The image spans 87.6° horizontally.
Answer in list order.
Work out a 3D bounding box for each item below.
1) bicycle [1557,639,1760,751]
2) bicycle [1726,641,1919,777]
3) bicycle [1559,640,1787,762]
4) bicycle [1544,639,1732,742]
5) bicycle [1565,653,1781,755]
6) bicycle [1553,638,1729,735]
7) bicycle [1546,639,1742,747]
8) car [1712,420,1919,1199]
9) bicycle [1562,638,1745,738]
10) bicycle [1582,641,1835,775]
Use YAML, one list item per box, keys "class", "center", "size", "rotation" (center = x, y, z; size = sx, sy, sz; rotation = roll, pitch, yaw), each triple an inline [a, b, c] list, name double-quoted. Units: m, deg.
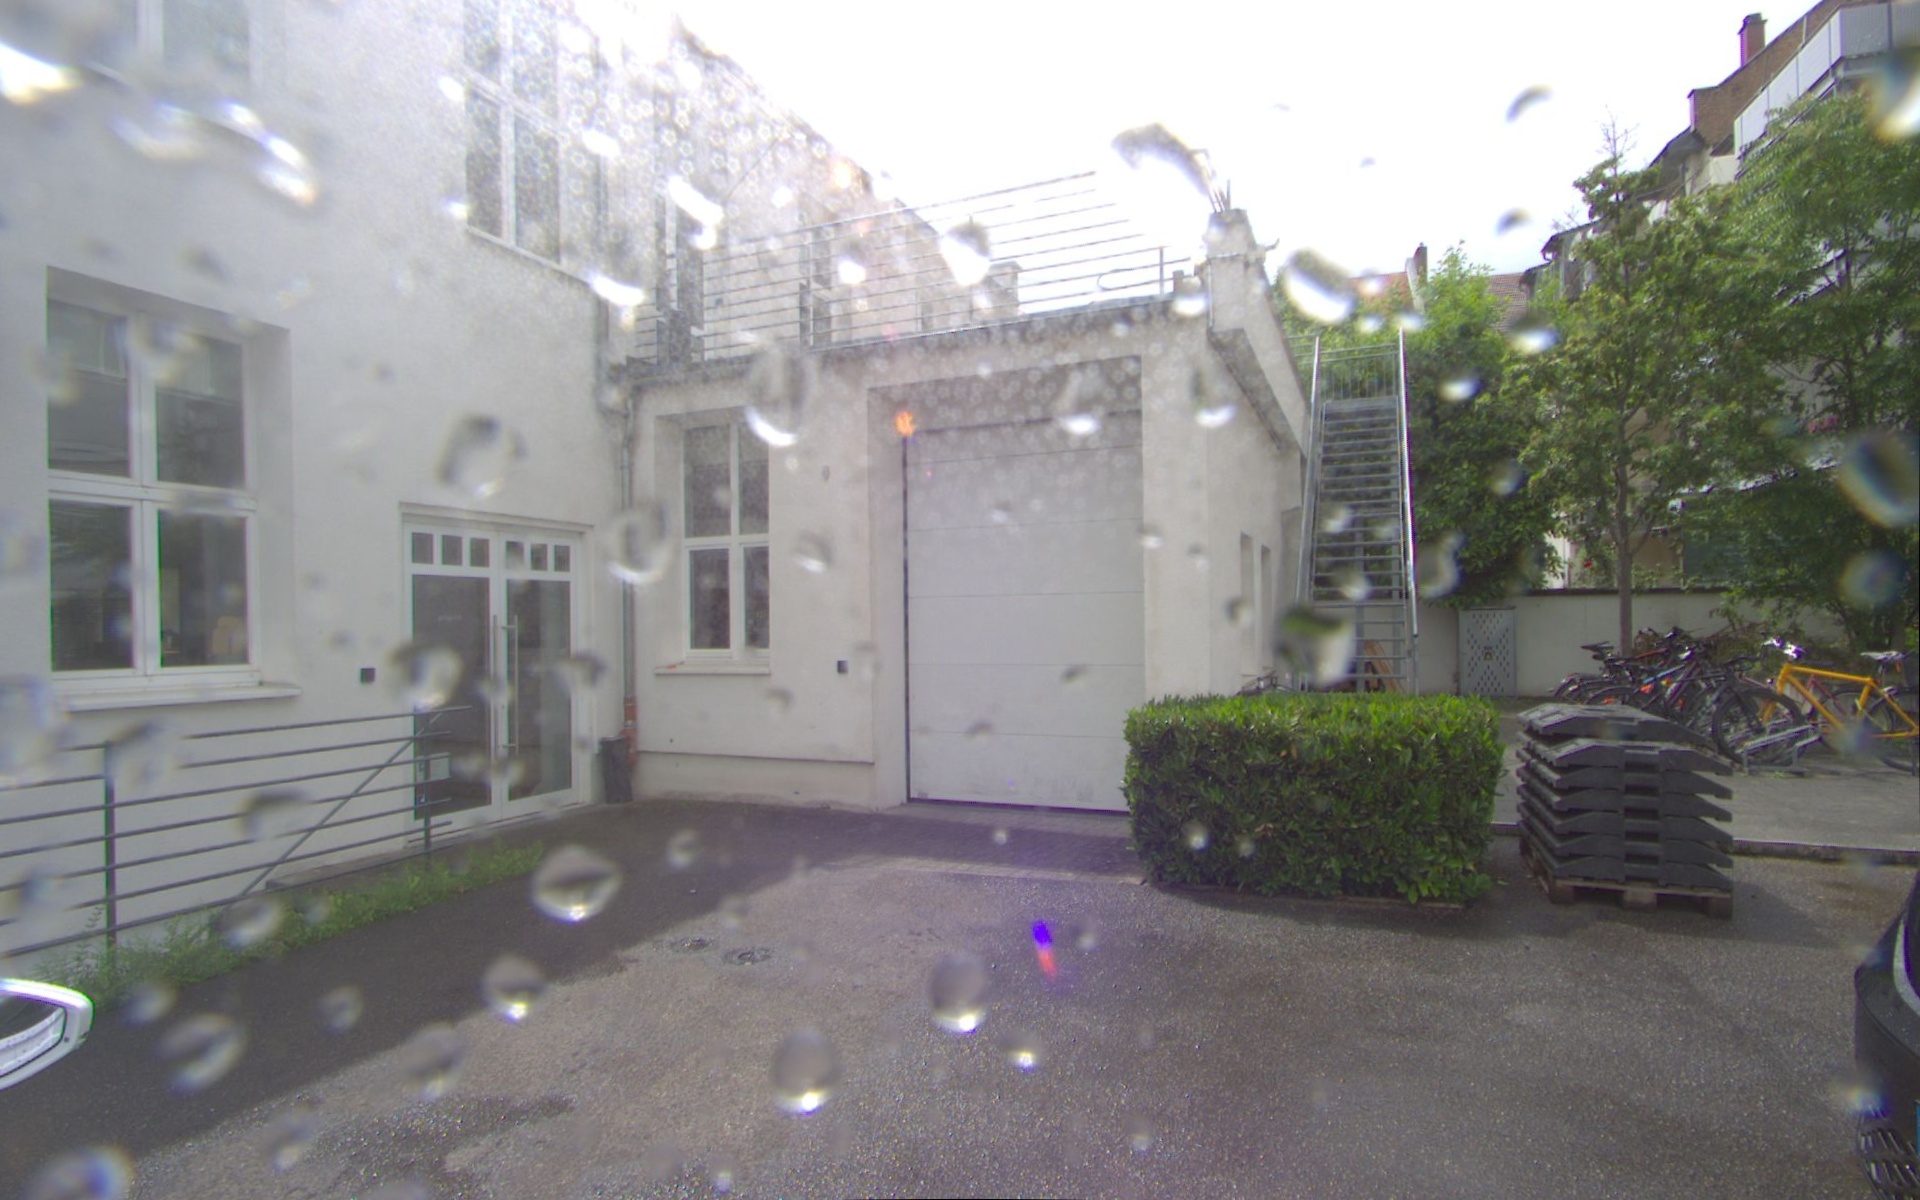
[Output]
- class: "bicycle"
  center: [7.298, 0.979, 10.525]
  size: [1.724, 1.118, 0.332]
  rotation: [-1, 0, 17]
- class: "bicycle"
  center: [7.762, 0.922, 8.652]
  size: [1.767, 1.118, 0.366]
  rotation: [-1, 0, 25]
- class: "bicycle"
  center: [6.911, 0.957, 9.793]
  size: [1.767, 1.118, 0.353]
  rotation: [-1, 0, 25]
- class: "bicycle"
  center: [7.613, 1.001, 11.300]
  size: [1.724, 1.118, 0.345]
  rotation: [-1, 0, 17]
- class: "bicycle"
  center: [7.212, 1.037, 10.193]
  size: [1.764, 0.980, 0.329]
  rotation: [-1, 0, 17]
- class: "bicycle"
  center: [8.165, 1.023, 12.059]
  size: [1.724, 1.118, 0.341]
  rotation: [-1, 0, 17]
- class: "bicycle"
  center: [7.386, 0.990, 10.869]
  size: [1.724, 1.118, 0.342]
  rotation: [-1, 0, 17]
- class: "car"
  center: [3.994, 0.529, 1.052]
  size: [4.662, 1.888, 1.968]
  rotation: [-2, -2, 16]
- class: "bicycle"
  center: [8.064, 1.012, 11.697]
  size: [1.724, 1.118, 0.354]
  rotation: [-1, 0, 17]
- class: "bicycle"
  center: [6.673, 0.933, 9.019]
  size: [1.767, 1.118, 0.404]
  rotation: [-1, 0, 25]
